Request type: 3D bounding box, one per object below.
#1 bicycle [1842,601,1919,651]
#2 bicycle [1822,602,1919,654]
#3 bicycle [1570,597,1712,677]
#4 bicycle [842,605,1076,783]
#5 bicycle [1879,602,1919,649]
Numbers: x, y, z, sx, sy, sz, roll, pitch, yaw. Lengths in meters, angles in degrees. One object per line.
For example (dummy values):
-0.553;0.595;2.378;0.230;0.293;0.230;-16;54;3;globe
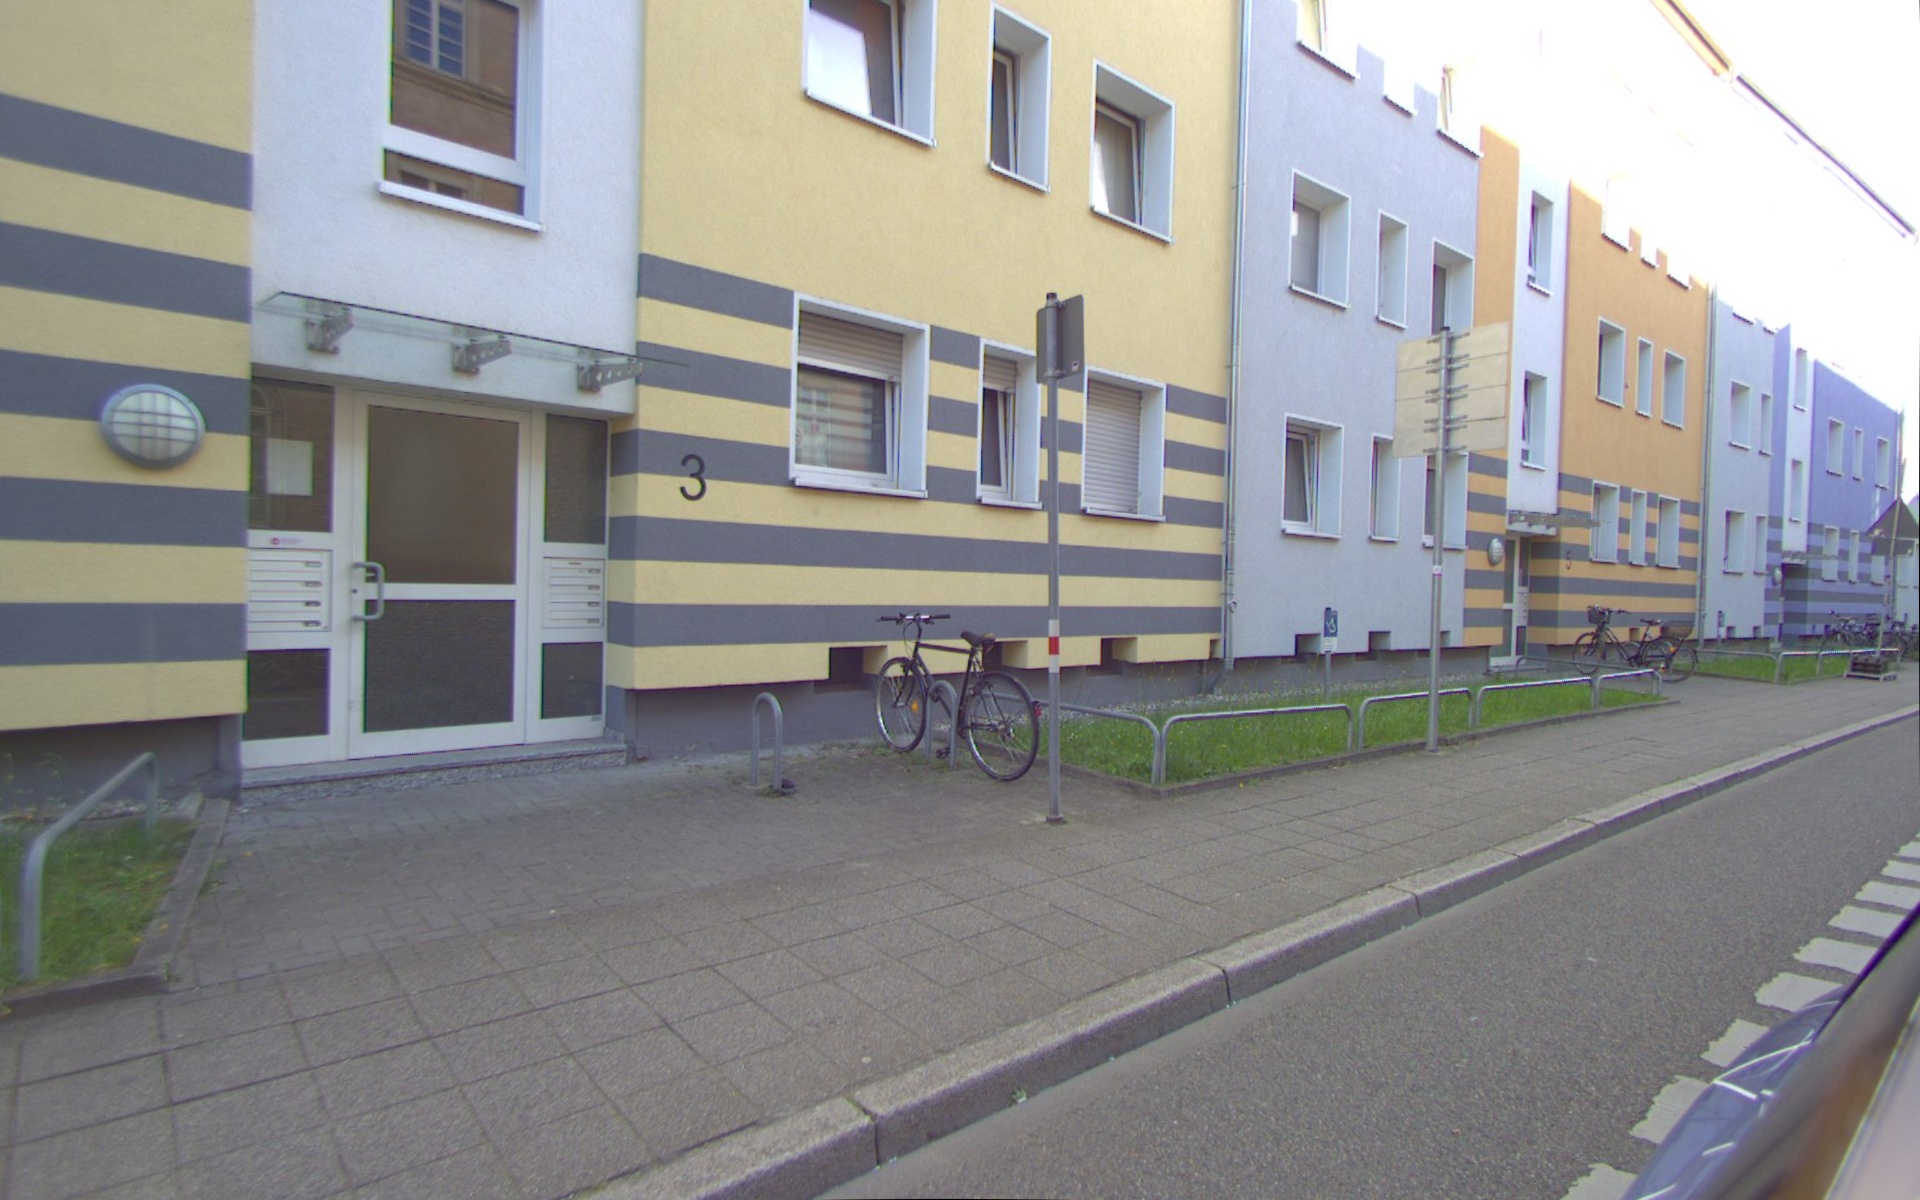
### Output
23.321;0.641;25.429;0.475;1.166;1.678;1;1;-37;bicycle
22.240;0.658;24.737;0.475;1.166;1.678;1;1;-37;bicycle
10.701;0.559;15.954;1.775;1.137;0.476;3;1;44;bicycle
-0.061;0.584;7.025;1.775;1.031;0.476;3;1;44;bicycle
24.148;0.653;25.286;0.475;1.166;1.678;1;1;-37;bicycle
